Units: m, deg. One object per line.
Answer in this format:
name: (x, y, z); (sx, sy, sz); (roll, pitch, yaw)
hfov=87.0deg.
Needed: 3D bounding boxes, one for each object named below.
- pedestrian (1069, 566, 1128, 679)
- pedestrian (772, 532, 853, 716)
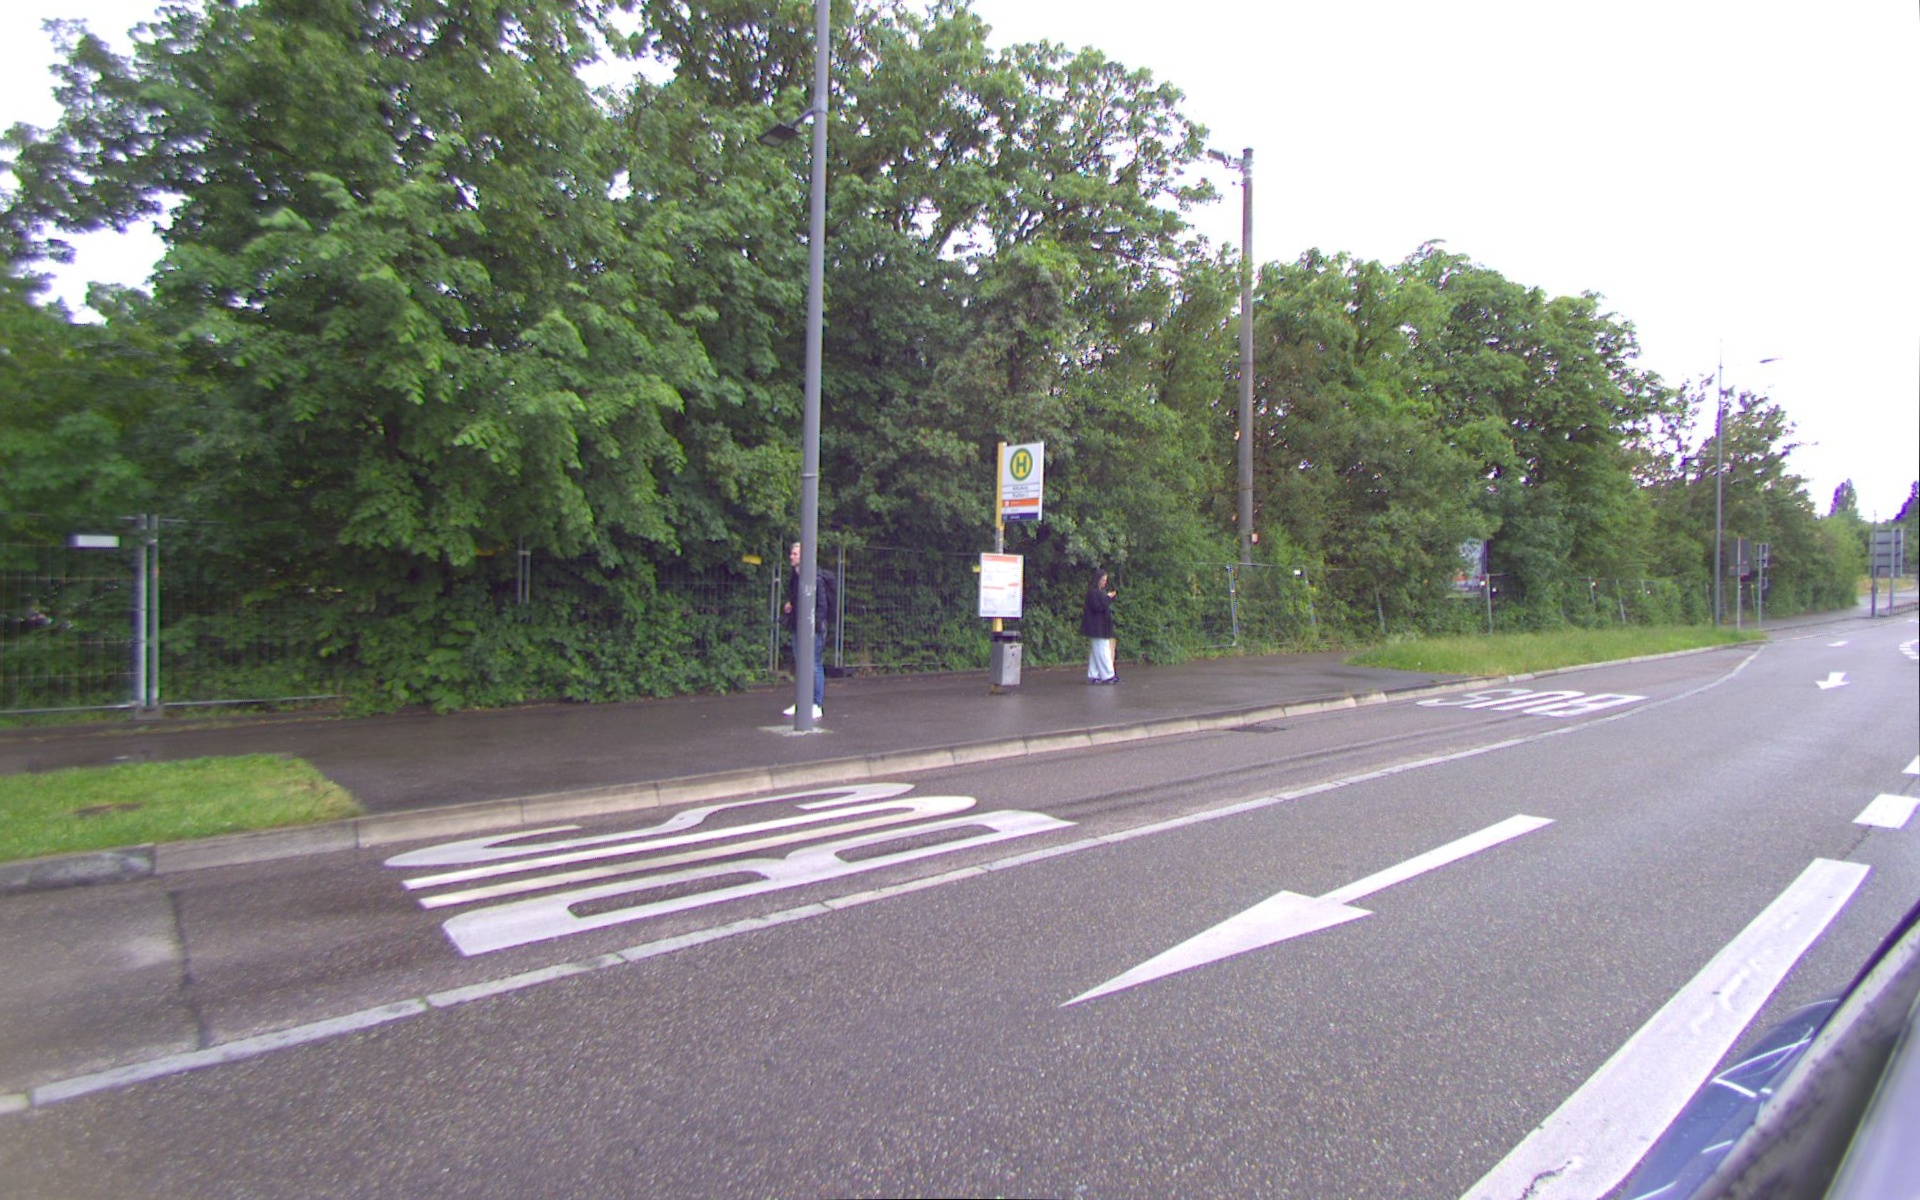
pedestrian: (2.079, 0.323, 15.212); (0.650, 1.648, 0.588); (0, 1, -40)
pedestrian: (-1.659, 0.249, 11.346); (0.587, 1.973, 0.742); (0, 1, -40)
